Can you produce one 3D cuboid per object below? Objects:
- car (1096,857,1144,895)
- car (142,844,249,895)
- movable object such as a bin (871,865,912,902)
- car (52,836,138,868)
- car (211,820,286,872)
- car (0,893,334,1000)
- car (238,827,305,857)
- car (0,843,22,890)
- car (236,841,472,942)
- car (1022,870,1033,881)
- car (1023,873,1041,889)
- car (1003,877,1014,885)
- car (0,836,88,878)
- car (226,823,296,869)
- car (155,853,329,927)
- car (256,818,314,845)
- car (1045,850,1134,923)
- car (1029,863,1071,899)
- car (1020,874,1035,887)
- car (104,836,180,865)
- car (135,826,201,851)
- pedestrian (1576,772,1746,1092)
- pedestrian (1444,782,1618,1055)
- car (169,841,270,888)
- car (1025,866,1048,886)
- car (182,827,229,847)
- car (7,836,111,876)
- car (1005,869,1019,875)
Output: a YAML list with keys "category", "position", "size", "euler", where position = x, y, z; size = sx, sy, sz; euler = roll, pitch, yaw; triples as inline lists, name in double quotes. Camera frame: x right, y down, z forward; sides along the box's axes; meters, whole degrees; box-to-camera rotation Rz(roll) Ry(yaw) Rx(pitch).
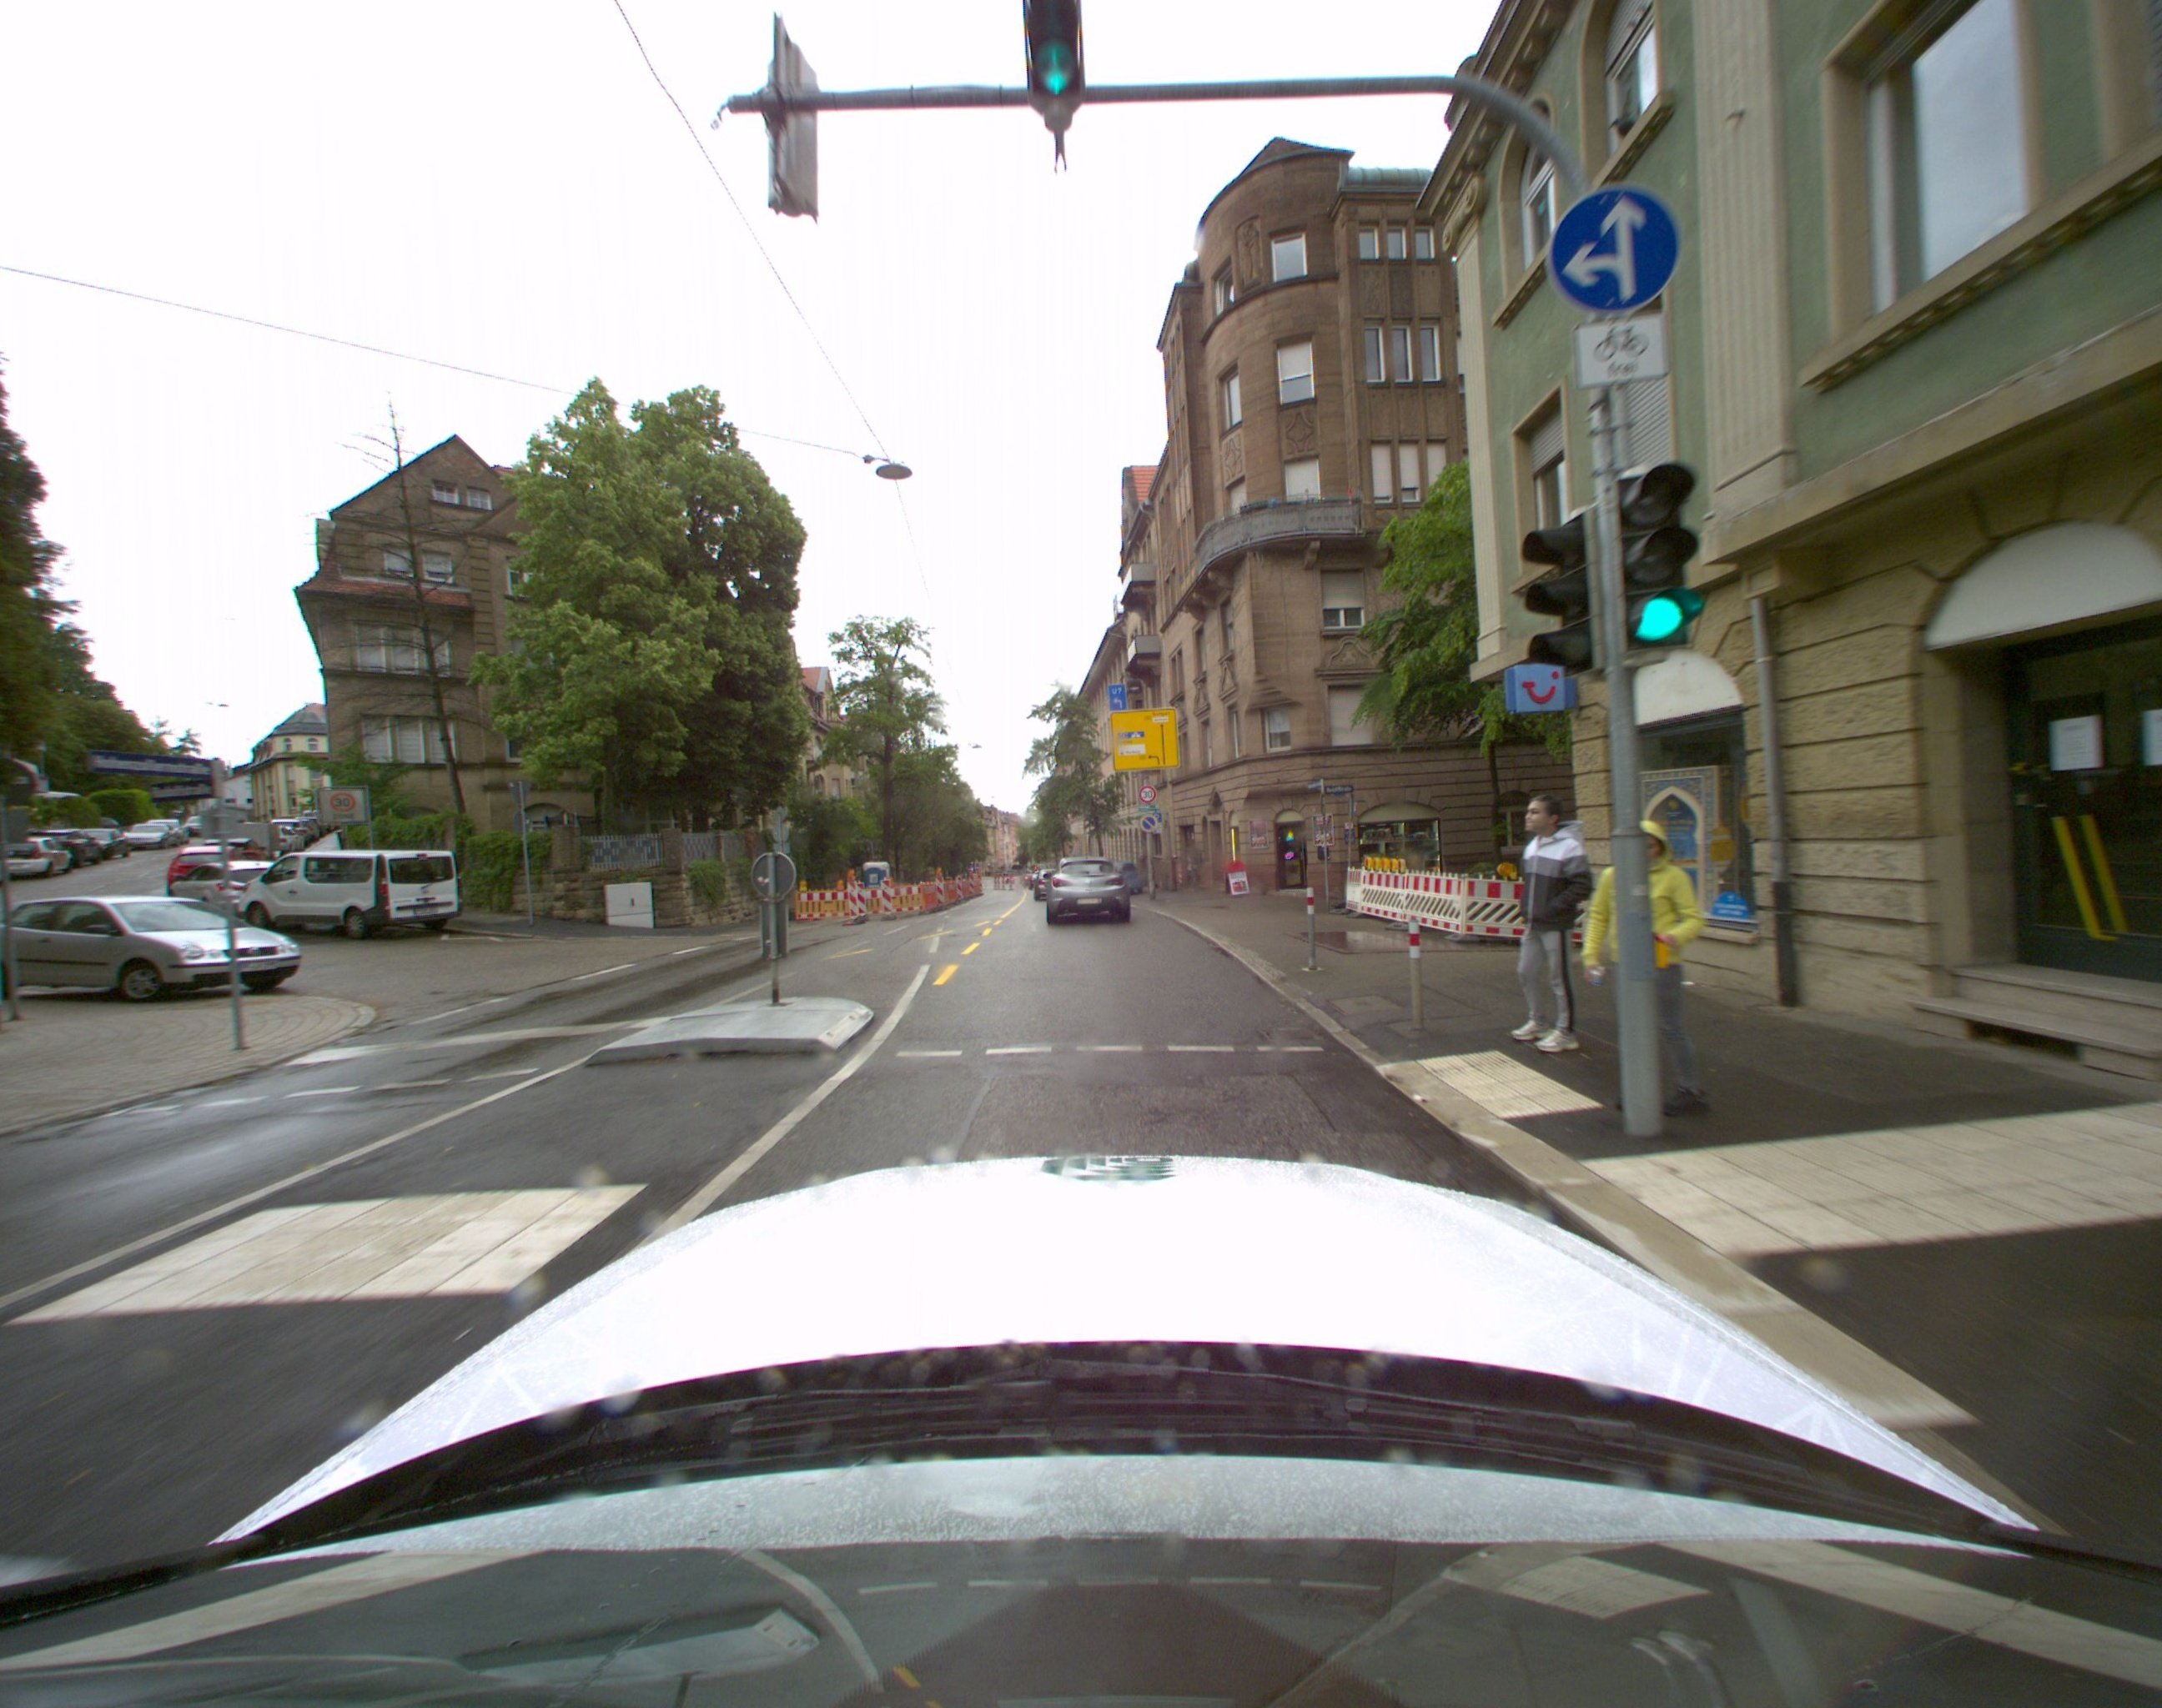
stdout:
- category: "car"
  position: [1.766, 1.032, 38.064]
  size: [1.654, 1.543, 3.658]
  euler: [-5, -1, -5]
- category: "car"
  position: [-29.183, 0.506, 26.986]
  size: [2.045, 1.535, 4.389]
  euler: [3, -2, -44]
- category: "movable object such as a bin"
  position: [-12.695, 1.952, 54.698]
  size: [1.988, 2.299, 2.813]
  euler: [-4, -1, -1]
- category: "car"
  position: [-47.501, -0.112, 39.312]
  size: [1.930, 1.409, 3.943]
  euler: [3, -1, -40]
- category: "car"
  position: [-35.881, -0.346, 35.198]
  size: [1.805, 2.041, 3.891]
  euler: [4, -2, -41]
- category: "car"
  position: [-13.917, 1.322, 12.235]
  size: [3.842, 1.409, 1.829]
  euler: [0, -2, 6]
- category: "car"
  position: [-42.388, -0.627, 42.734]
  size: [2.124, 1.409, 4.391]
  euler: [3, -1, -41]
- category: "car"
  position: [-36.625, 0.411, 26.621]
  size: [1.762, 1.507, 4.108]
  euler: [3, 0, -43]
- category: "car"
  position: [-17.546, 0.821, 19.711]
  size: [4.628, 2.048, 2.034]
  euler: [3, 2, 16]
- category: "car"
  position: [-9.352, 3.826, 142.708]
  size: [1.713, 1.782, 3.658]
  euler: [-6, -1, -6]
- category: "car"
  position: [-5.246, 2.865, 87.065]
  size: [1.654, 1.543, 3.658]
  euler: [-5, -1, -5]
- category: "car"
  position: [-14.083, 5.226, 157.848]
  size: [1.992, 1.501, 3.989]
  euler: [-3, -2, -7]
- category: "car"
  position: [-40.004, 0.093, 31.123]
  size: [1.859, 1.458, 4.110]
  euler: [3, 0, -40]
- category: "car"
  position: [-38.655, -0.359, 38.492]
  size: [1.932, 2.012, 4.391]
  euler: [3, -2, -41]
- category: "car"
  position: [-22.537, 0.876, 21.866]
  size: [4.388, 1.513, 2.127]
  euler: [3, 4, 29]
- category: "car"
  position: [-46.907, -1.294, 48.088]
  size: [2.124, 1.409, 4.391]
  euler: [3, -1, -41]
- category: "car"
  position: [0.128, 0.712, 18.918]
  size: [1.806, 1.449, 3.866]
  euler: [-2, -1, -2]
- category: "car"
  position: [-1.447, 1.202, 37.389]
  size: [1.768, 1.504, 3.865]
  euler: [-2, -1, -3]
- category: "car"
  position: [-6.983, 3.438, 106.317]
  size: [1.654, 1.543, 3.658]
  euler: [-5, -1, -5]
- category: "car"
  position: [-53.439, -0.154, 46.445]
  size: [2.124, 1.409, 4.390]
  euler: [3, -3, -41]
- category: "car"
  position: [-57.293, -0.973, 51.206]
  size: [2.124, 1.409, 4.391]
  euler: [3, 0, -41]
- category: "pedestrian"
  position: [3.126, 0.391, 4.456]
  size: [0.591, 1.584, 0.670]
  euler: [-5, 0, 30]
- category: "pedestrian"
  position: [3.189, 0.426, 5.831]
  size: [0.663, 1.774, 0.718]
  euler: [-5, 0, -9]
- category: "car"
  position: [-32.636, 0.391, 30.994]
  size: [2.124, 1.627, 4.390]
  euler: [3, -2, -41]
- category: "car"
  position: [-3.985, 1.955, 72.503]
  size: [1.655, 1.543, 3.656]
  euler: [-5, -1, -7]
- category: "car"
  position: [-66.276, -1.259, 61.721]
  size: [1.973, 1.409, 4.408]
  euler: [3, -1, -41]
- category: "car"
  position: [-43.548, 0.062, 34.810]
  size: [1.930, 1.510, 4.199]
  euler: [3, 0, -40]
- category: "car"
  position: [-20.268, 5.313, 239.535]
  size: [3.981, 1.750, 1.996]
  euler: [0, -2, -5]
